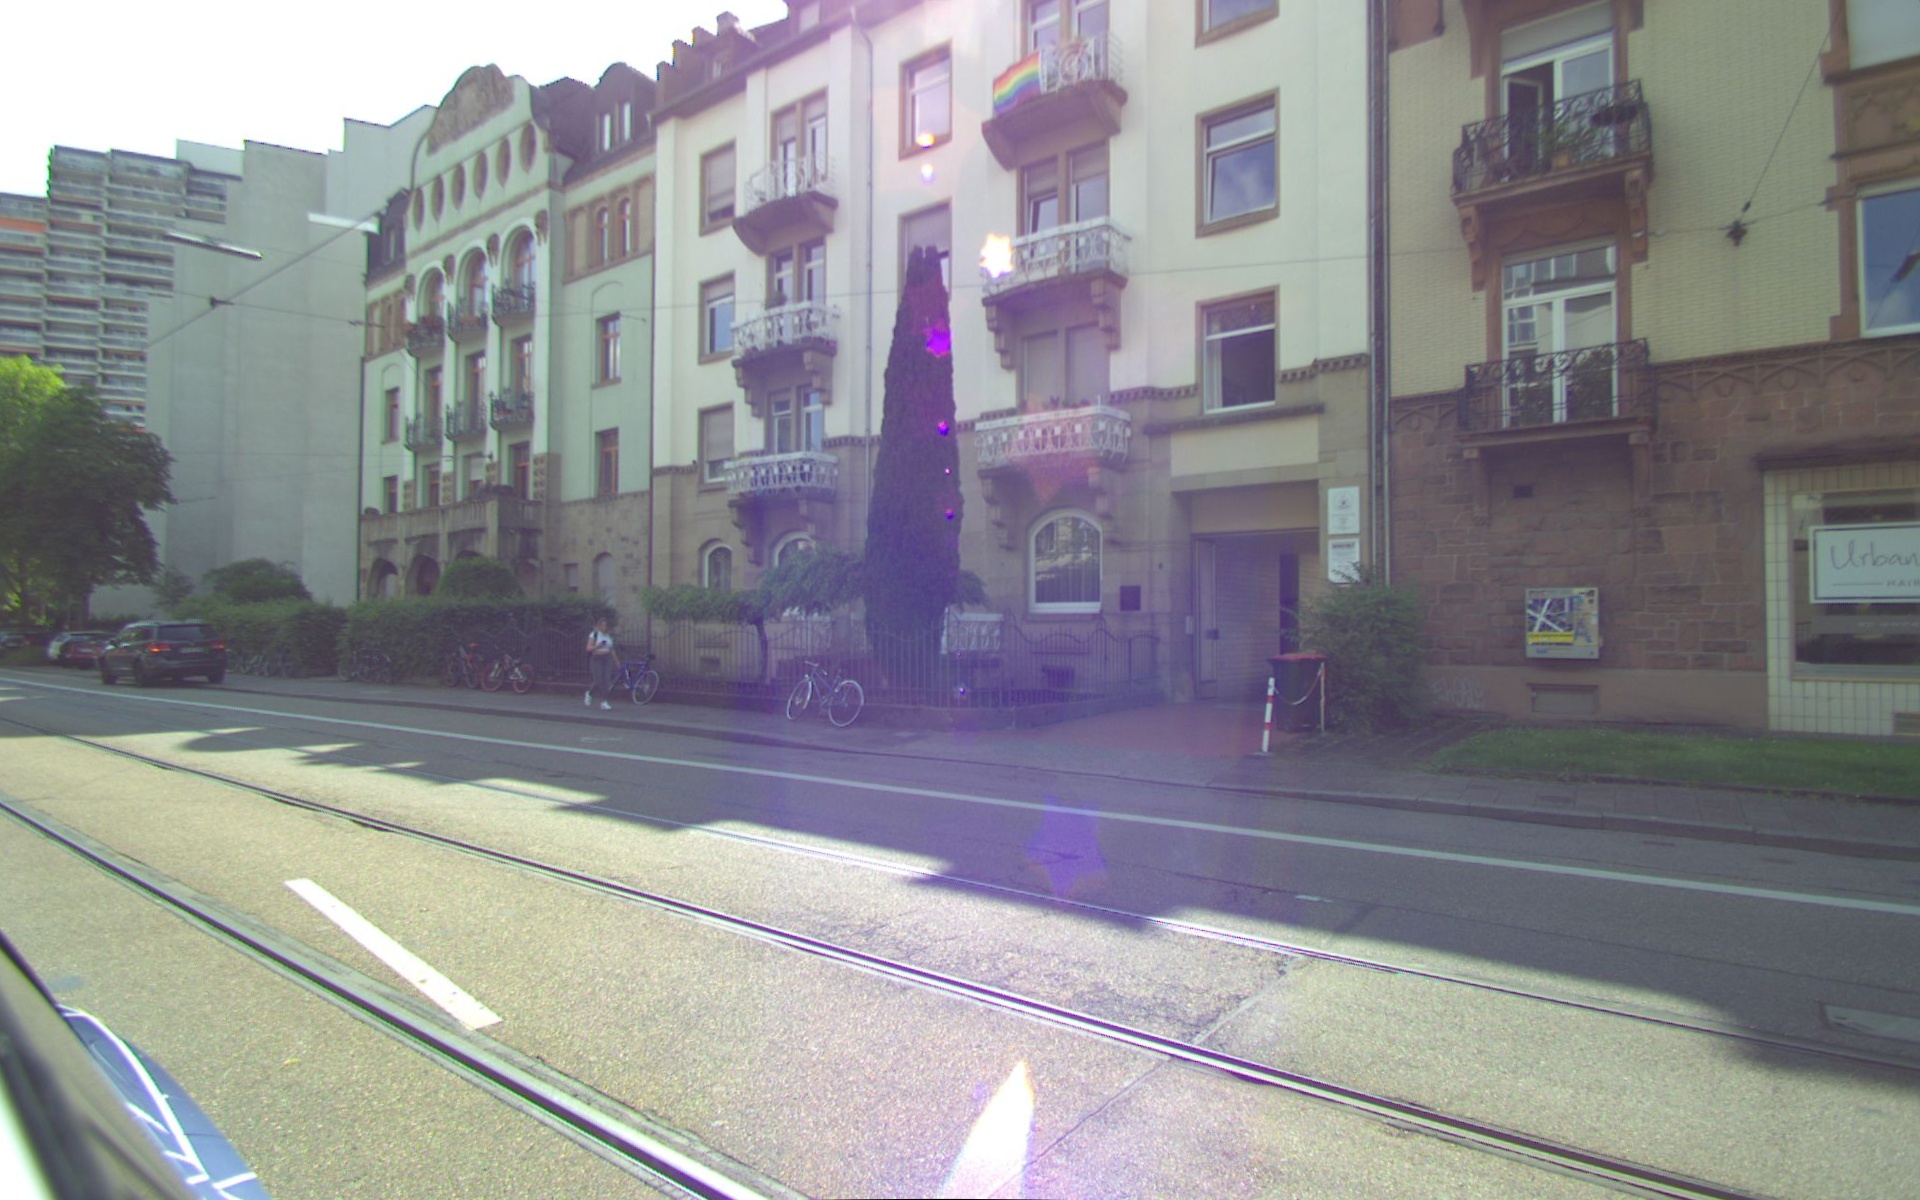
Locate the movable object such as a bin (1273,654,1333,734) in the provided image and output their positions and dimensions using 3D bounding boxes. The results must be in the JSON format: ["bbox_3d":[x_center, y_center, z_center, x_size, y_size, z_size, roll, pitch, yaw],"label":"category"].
[{"bbox_3d":[4.649,1.264,13.741,0.697,1.037,0.475,0,-2,11],"label":"movable object such as a bin"}]

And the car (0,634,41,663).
[{"bbox_3d":[-50.618,2.519,52.753,3.938,1.519,2.002,2,-3,-42],"label":"car"}]

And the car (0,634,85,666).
[{"bbox_3d":[-45.257,2.396,49.301,3.938,1.519,2.002,2,-3,-42],"label":"car"}]

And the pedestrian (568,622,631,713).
[{"bbox_3d":[-6.331,1.166,17.773,0.764,1.553,0.749,-2,-3,39],"label":"pedestrian"}]

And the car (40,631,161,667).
[{"bbox_3d":[-37.508,2.116,44.229,3.938,1.519,2.002,2,-3,-42],"label":"car"}]

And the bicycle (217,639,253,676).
[{"bbox_3d":[-23.050,1.805,32.167,1.785,1.144,0.462,-2,-3,40],"label":"bicycle"}]

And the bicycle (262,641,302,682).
[{"bbox_3d":[-19.879,1.789,29.663,1.785,1.144,0.462,-2,-3,40],"label":"bicycle"}]

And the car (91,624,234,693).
[{"bbox_3d":[-21.624,1.532,27.393,4.393,1.708,1.899,-1,-2,36],"label":"car"}]

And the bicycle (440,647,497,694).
[{"bbox_3d":[-11.067,1.575,22.757,1.785,1.003,0.462,-2,-3,40],"label":"bicycle"}]

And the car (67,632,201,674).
[{"bbox_3d":[-32.236,2.035,39.541,3.938,1.519,2.002,2,-3,-42],"label":"car"}]

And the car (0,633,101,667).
[{"bbox_3d":[-42.809,2.317,47.314,3.938,1.519,2.002,2,-3,-42],"label":"car"}]

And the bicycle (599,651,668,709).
[{"bbox_3d":[-6.080,1.461,18.777,0.461,1.003,1.788,2,-3,-45],"label":"bicycle"}]

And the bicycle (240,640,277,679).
[{"bbox_3d":[-21.400,1.808,30.871,1.785,1.144,0.462,-2,-3,40],"label":"bicycle"}]

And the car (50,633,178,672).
[{"bbox_3d":[-34.911,2.119,41.806,3.938,1.519,2.002,2,-3,-42],"label":"car"}]

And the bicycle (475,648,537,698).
[{"bbox_3d":[-9.656,1.538,21.488,1.785,1.003,0.462,-2,-3,40],"label":"bicycle"}]

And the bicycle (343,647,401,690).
[{"bbox_3d":[-14.532,1.680,24.981,1.979,1.003,0.597,-2,-3,40],"label":"bicycle"}]

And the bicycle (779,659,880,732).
[{"bbox_3d":[-2.020,1.426,15.460,0.461,1.003,1.980,2,-3,-43],"label":"bicycle"}]

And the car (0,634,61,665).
[{"bbox_3d":[-47.933,2.487,50.961,3.938,1.519,2.002,2,-3,-42],"label":"car"}]

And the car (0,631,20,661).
[{"bbox_3d":[-55.692,2.576,57.023,3.938,1.695,2.002,2,-3,-42],"label":"car"}]

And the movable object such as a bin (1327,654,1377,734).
[{"bbox_3d":[5.292,1.259,13.679,0.531,1.037,0.475,0,-2,11],"label":"movable object such as a bin"}]

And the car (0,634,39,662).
[{"bbox_3d":[-52.799,2.595,55.065,3.938,1.519,2.002,2,-3,-42],"label":"car"}]
